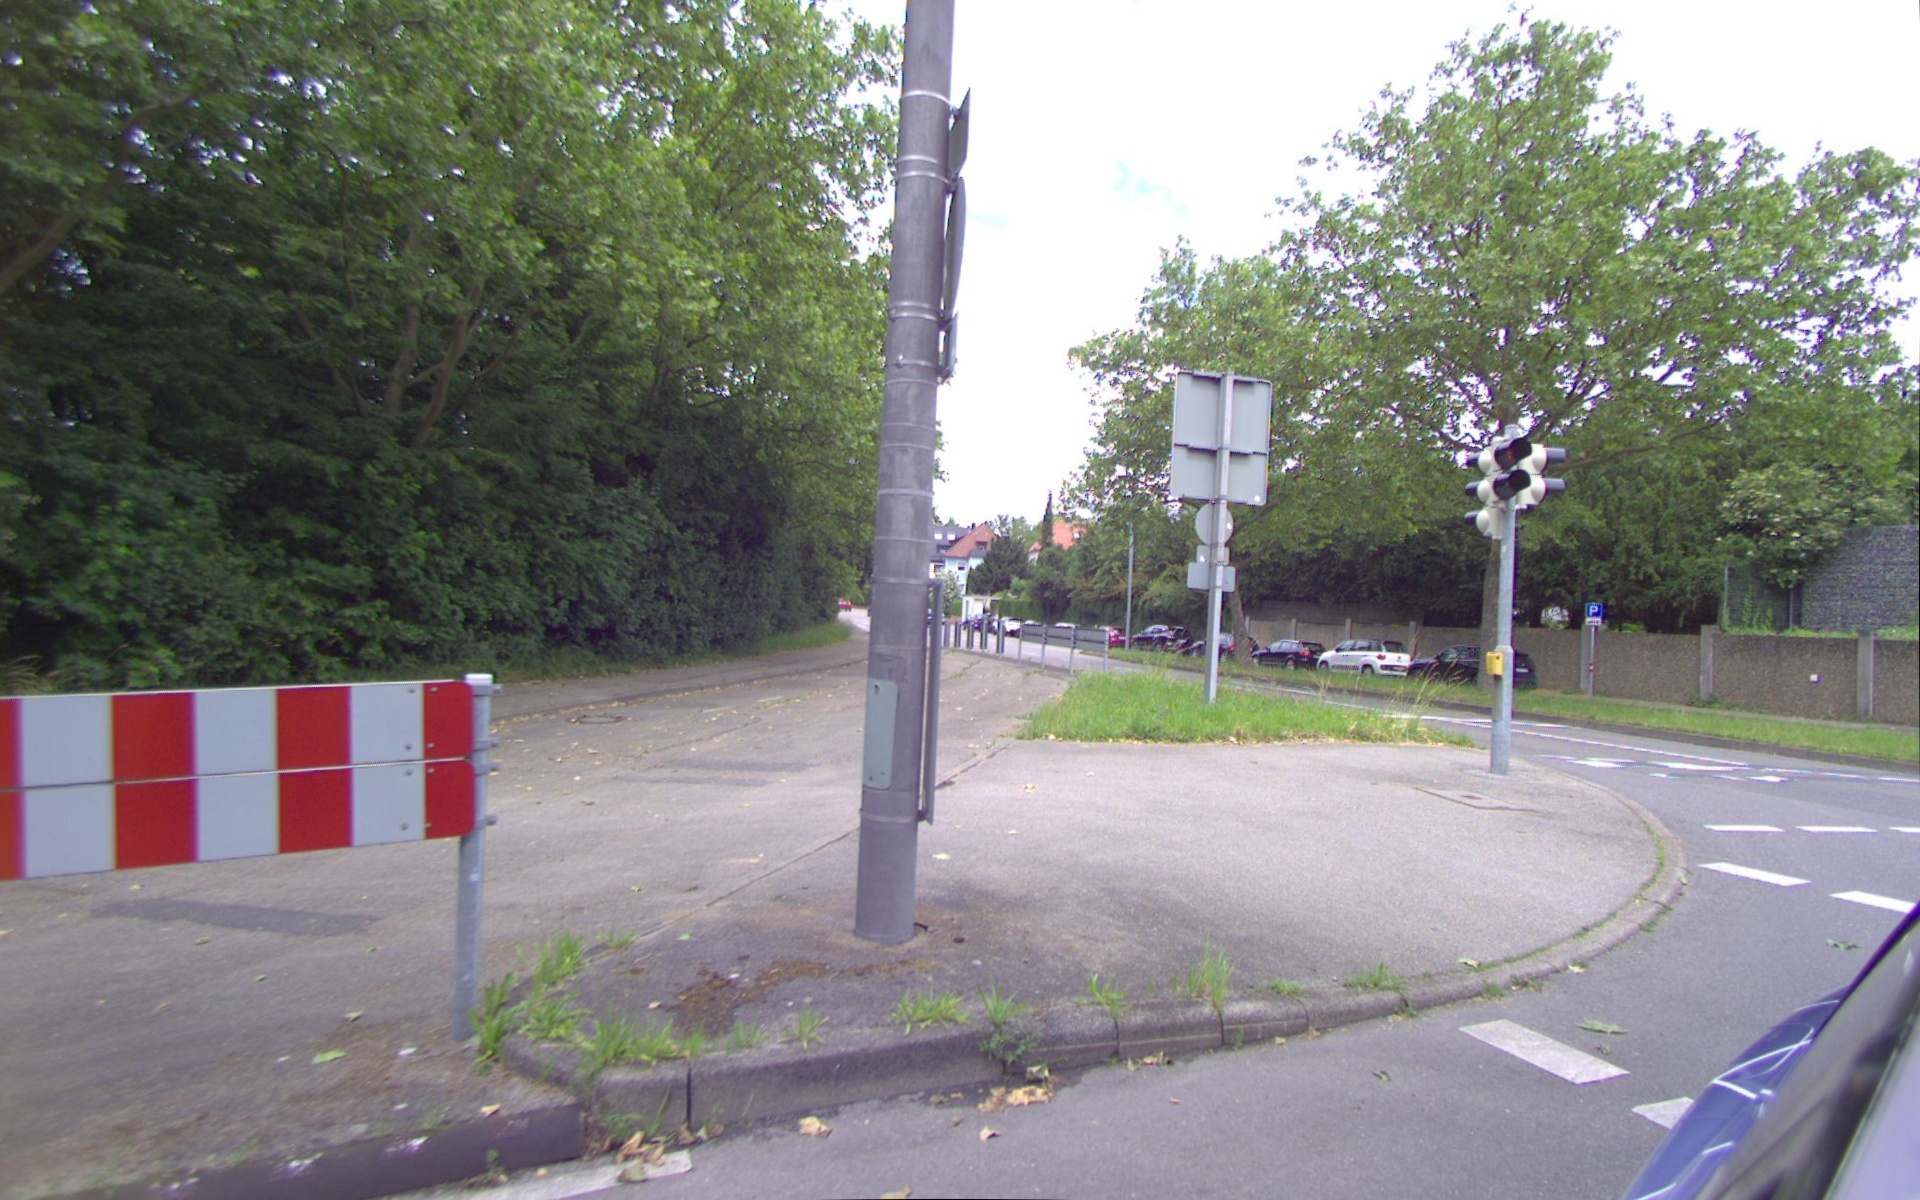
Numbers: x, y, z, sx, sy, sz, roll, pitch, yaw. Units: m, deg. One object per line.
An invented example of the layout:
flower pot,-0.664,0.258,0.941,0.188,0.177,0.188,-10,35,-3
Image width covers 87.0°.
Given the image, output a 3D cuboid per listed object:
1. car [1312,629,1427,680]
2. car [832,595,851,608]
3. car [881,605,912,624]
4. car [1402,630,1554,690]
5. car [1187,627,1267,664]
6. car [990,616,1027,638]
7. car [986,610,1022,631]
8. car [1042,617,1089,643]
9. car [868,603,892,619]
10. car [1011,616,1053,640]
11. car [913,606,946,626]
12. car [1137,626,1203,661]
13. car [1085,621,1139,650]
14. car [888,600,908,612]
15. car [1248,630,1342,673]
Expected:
car,15.845,2.076,39.397,1.759,1.636,4.226,5,-2,-18
car,-15.698,0.219,133.787,1.651,1.524,3.839,5,-2,-17
car,-5.505,1.266,87.224,1.759,1.447,4.155,5,-2,-16
car,17.233,1.956,33.950,1.759,1.636,4.471,5,-2,-19
car,12.860,2.173,49.022,1.759,1.524,4.046,5,-2,-17
car,3.775,2.107,79.360,1.651,1.524,3.839,5,-2,-17
car,3.558,1.662,83.052,1.651,1.524,3.839,5,-2,-17
car,7.076,1.974,68.228,1.651,1.524,3.839,5,-2,-17
car,-8.844,1.219,111.568,1.806,1.636,3.921,5,-2,-16
car,5.253,2.025,74.060,1.651,1.524,3.839,5,-2,-17
car,-2.727,1.418,90.042,1.759,1.636,4.596,5,-2,-15
car,11.221,2.316,54.457,1.759,1.624,4.046,3,-1,-15
car,9.205,2.113,61.515,1.651,1.524,3.839,5,-2,-17
car,-7.195,0.671,117.411,1.652,1.346,3.838,3,-1,-13
car,14.438,2.195,43.865,1.759,1.524,4.046,5,-2,-17
